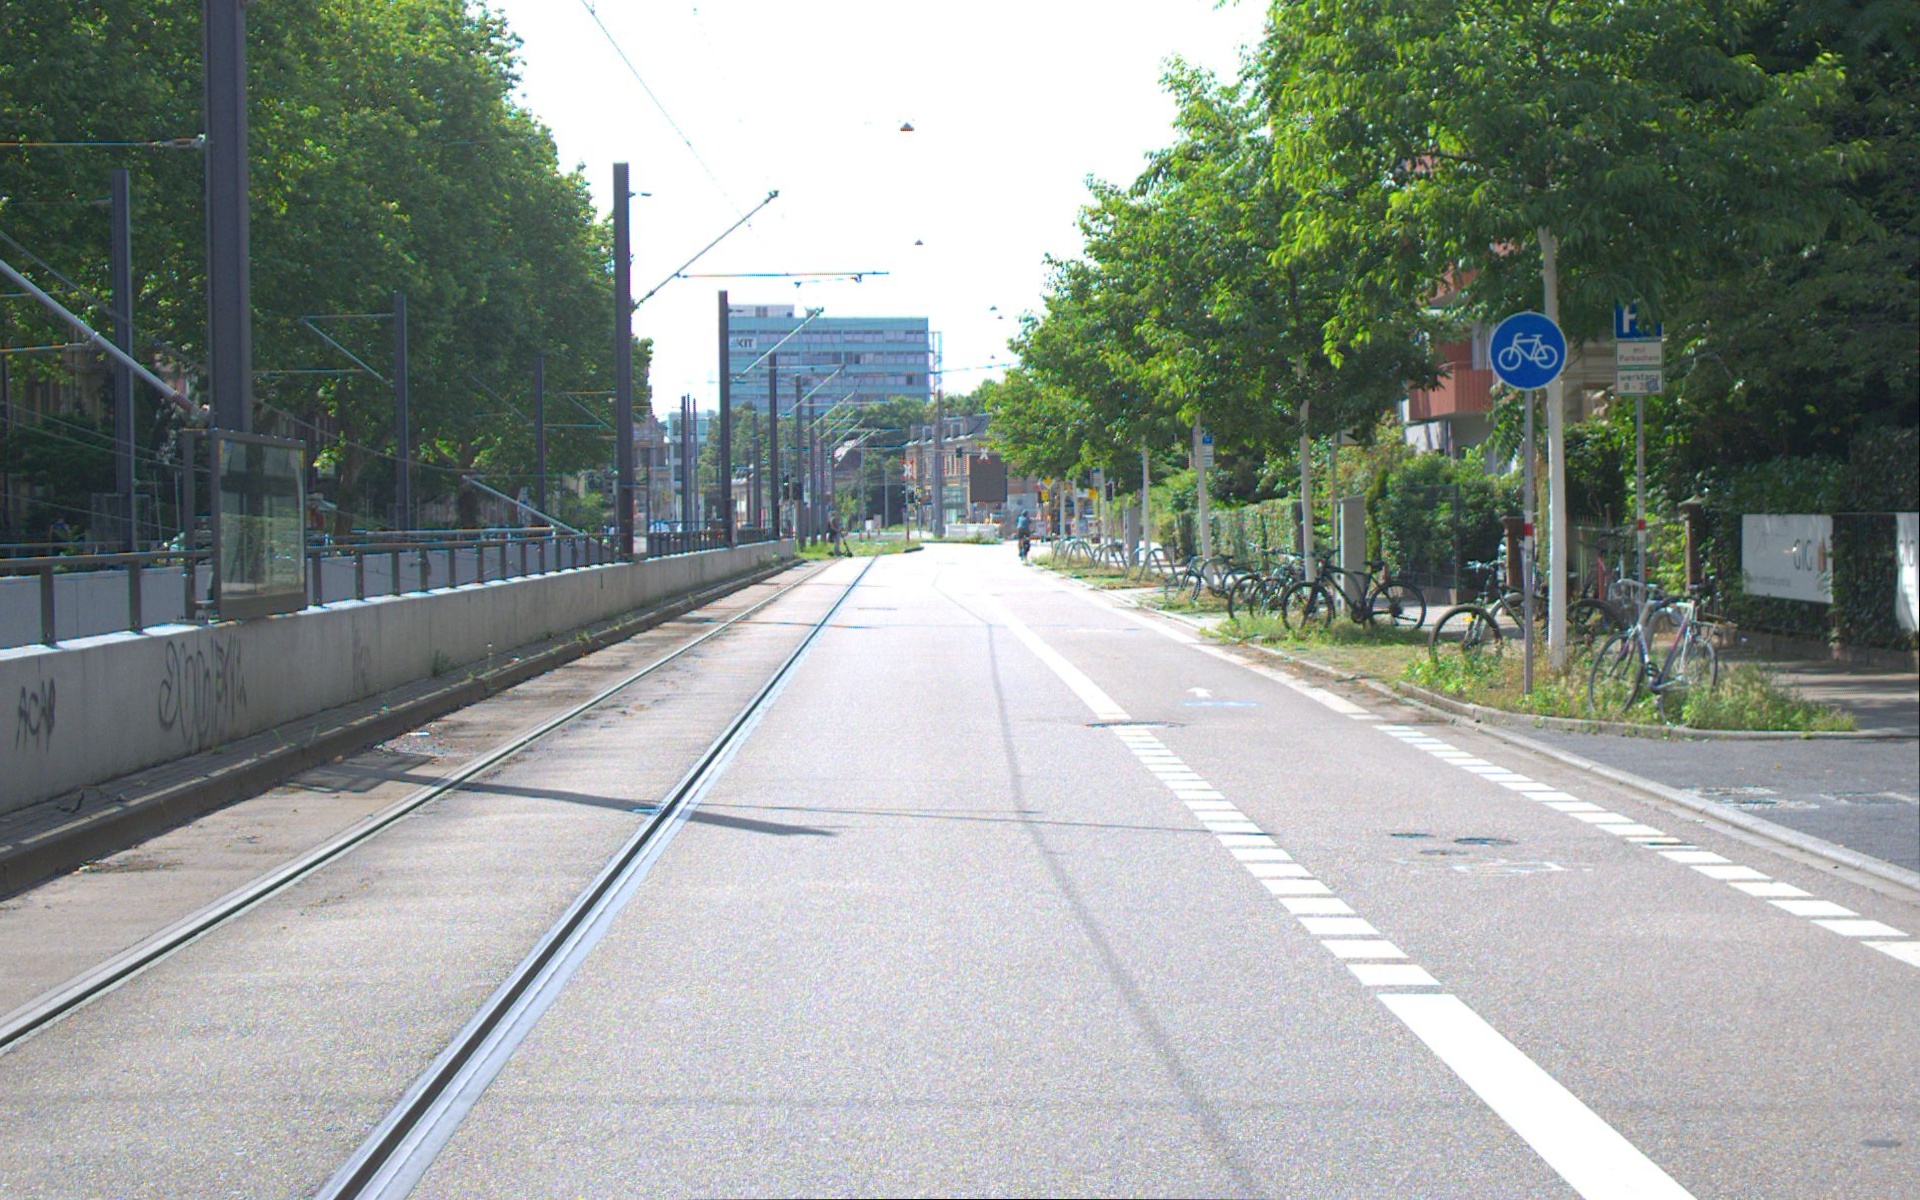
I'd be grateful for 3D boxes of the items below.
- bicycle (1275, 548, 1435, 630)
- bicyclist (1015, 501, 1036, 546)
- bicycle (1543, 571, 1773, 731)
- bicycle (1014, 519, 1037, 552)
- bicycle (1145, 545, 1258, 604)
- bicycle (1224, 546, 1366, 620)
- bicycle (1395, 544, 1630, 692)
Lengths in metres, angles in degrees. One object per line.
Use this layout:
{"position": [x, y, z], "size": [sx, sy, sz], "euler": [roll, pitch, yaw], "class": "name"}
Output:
{"position": [4.822, -0.140, 42.034], "size": [1.816, 0.899, 0.652], "euler": [-3, 2, -4], "class": "bicycle"}
{"position": [2.499, -2.909, 130.862], "size": [0.770, 1.724, 1.026], "euler": [0, 1, 0], "class": "bicyclist"}
{"position": [4.895, 0.338, 24.221], "size": [0.649, 1.035, 1.822], "euler": [-4, 2, -22], "class": "bicycle"}
{"position": [2.501, -2.445, 130.889], "size": [0.799, 1.232, 2.778], "euler": [0, 1, 0], "class": "bicycle"}
{"position": [4.086, -0.431, 58.228], "size": [1.816, 0.899, 0.604], "euler": [-3, 2, -4], "class": "bicycle"}
{"position": [4.568, -0.230, 46.967], "size": [1.816, 0.899, 0.604], "euler": [-3, 2, -4], "class": "bicycle"}
{"position": [4.721, 0.146, 29.393], "size": [1.815, 1.141, 0.652], "euler": [-3, 2, -11], "class": "bicycle"}
